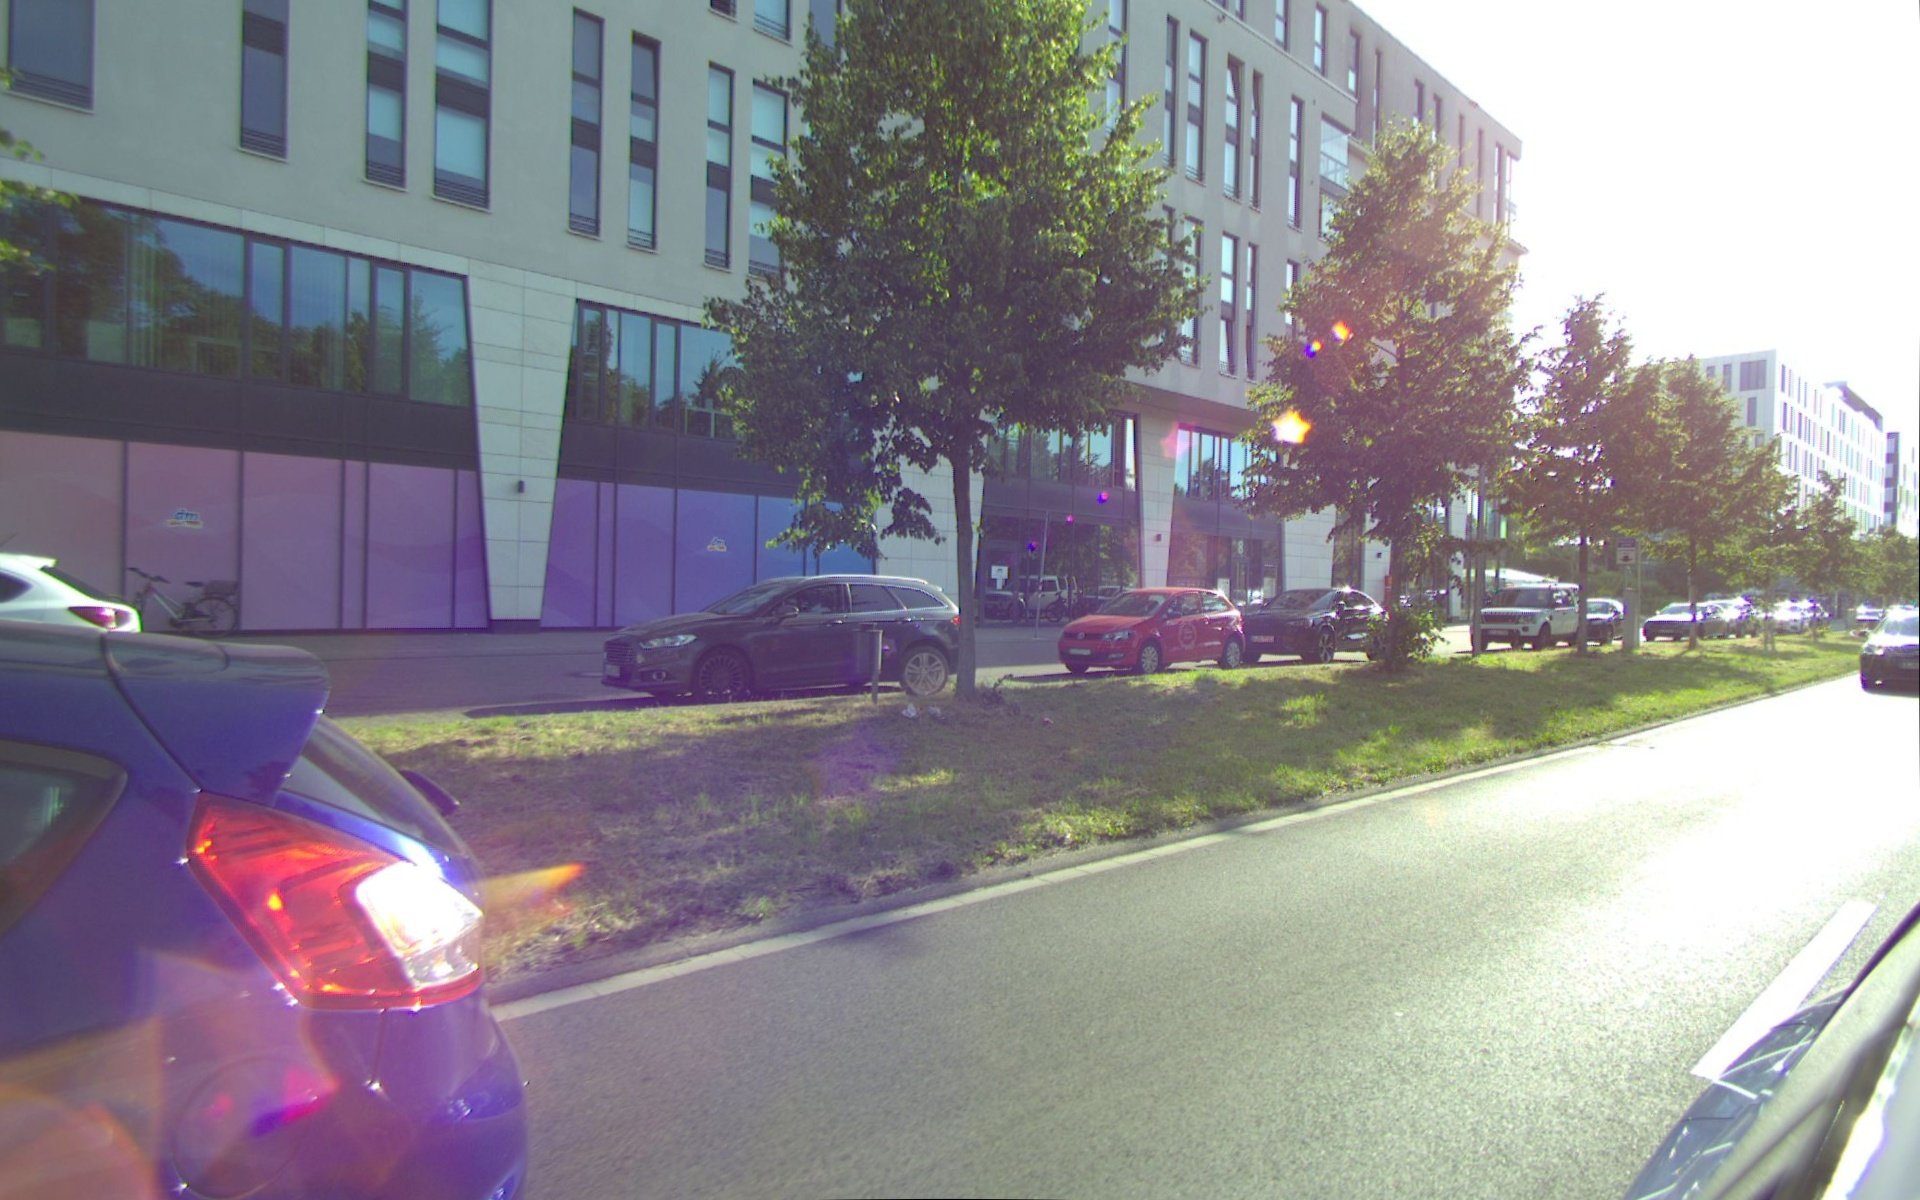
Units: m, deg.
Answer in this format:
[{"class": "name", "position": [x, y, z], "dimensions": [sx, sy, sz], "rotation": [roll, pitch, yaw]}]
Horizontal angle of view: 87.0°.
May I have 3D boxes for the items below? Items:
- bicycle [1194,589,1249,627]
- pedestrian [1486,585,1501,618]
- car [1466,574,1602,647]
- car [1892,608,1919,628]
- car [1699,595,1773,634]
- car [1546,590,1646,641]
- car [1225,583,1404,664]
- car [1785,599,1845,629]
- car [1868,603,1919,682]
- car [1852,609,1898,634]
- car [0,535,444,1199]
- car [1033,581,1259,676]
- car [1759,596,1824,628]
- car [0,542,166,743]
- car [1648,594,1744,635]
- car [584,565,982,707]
[{"class": "bicycle", "position": [7.952, 0.231, 30.774], "dimensions": [2.040, 1.083, 0.512], "rotation": [0, 3, -41]}, {"class": "pedestrian", "position": [26.030, 0.075, 49.386], "dimensions": [0.562, 1.621, 0.499], "rotation": [0, -1, -41]}, {"class": "car", "position": [16.300, 0.265, 28.632], "dimensions": [4.760, 1.898, 1.897], "rotation": [0, 0, -41]}, {"class": "car", "position": [76.019, 1.423, 80.896], "dimensions": [4.253, 1.549, 1.838], "rotation": [0, 0, -41]}, {"class": "car", "position": [33.504, 0.593, 43.650], "dimensions": [4.253, 1.618, 1.763], "rotation": [0, 0, -41]}, {"class": "car", "position": [20.496, 0.467, 32.535], "dimensions": [4.140, 1.507, 1.761], "rotation": [0, 0, -44]}, {"class": "car", "position": [7.474, 0.441, 21.102], "dimensions": [1.868, 1.510, 4.344], "rotation": [0, 0, 44]}, {"class": "car", "position": [45.944, 0.734, 54.369], "dimensions": [4.253, 1.549, 1.838], "rotation": [0, 0, -41]}, {"class": "car", "position": [19.130, 0.777, 19.697], "dimensions": [3.969, 1.442, 1.697], "rotation": [0, 0, -41]}, {"class": "car", "position": [61.975, 1.425, 68.508], "dimensions": [4.253, 1.549, 1.838], "rotation": [0, 0, -41]}, {"class": "car", "position": [-2.599, 0.660, 0.598], "dimensions": [3.839, 1.442, 1.562], "rotation": [0, 0, -41]}, {"class": "car", "position": [3.274, 0.430, 17.383], "dimensions": [4.043, 1.450, 1.730], "rotation": [0, 0, -42]}, {"class": "car", "position": [41.371, 0.581, 50.325], "dimensions": [4.253, 1.549, 1.838], "rotation": [0, 0, -41]}, {"class": "car", "position": [-8.193, 0.305, 7.027], "dimensions": [4.098, 1.430, 1.617], "rotation": [0, 0, -44]}, {"class": "car", "position": [28.872, 0.547, 39.637], "dimensions": [4.829, 1.507, 1.764], "rotation": [0, 0, -38]}, {"class": "car", "position": [-2.041, 0.370, 12.555], "dimensions": [4.637, 1.450, 1.732], "rotation": [0, 0, -40]}]
